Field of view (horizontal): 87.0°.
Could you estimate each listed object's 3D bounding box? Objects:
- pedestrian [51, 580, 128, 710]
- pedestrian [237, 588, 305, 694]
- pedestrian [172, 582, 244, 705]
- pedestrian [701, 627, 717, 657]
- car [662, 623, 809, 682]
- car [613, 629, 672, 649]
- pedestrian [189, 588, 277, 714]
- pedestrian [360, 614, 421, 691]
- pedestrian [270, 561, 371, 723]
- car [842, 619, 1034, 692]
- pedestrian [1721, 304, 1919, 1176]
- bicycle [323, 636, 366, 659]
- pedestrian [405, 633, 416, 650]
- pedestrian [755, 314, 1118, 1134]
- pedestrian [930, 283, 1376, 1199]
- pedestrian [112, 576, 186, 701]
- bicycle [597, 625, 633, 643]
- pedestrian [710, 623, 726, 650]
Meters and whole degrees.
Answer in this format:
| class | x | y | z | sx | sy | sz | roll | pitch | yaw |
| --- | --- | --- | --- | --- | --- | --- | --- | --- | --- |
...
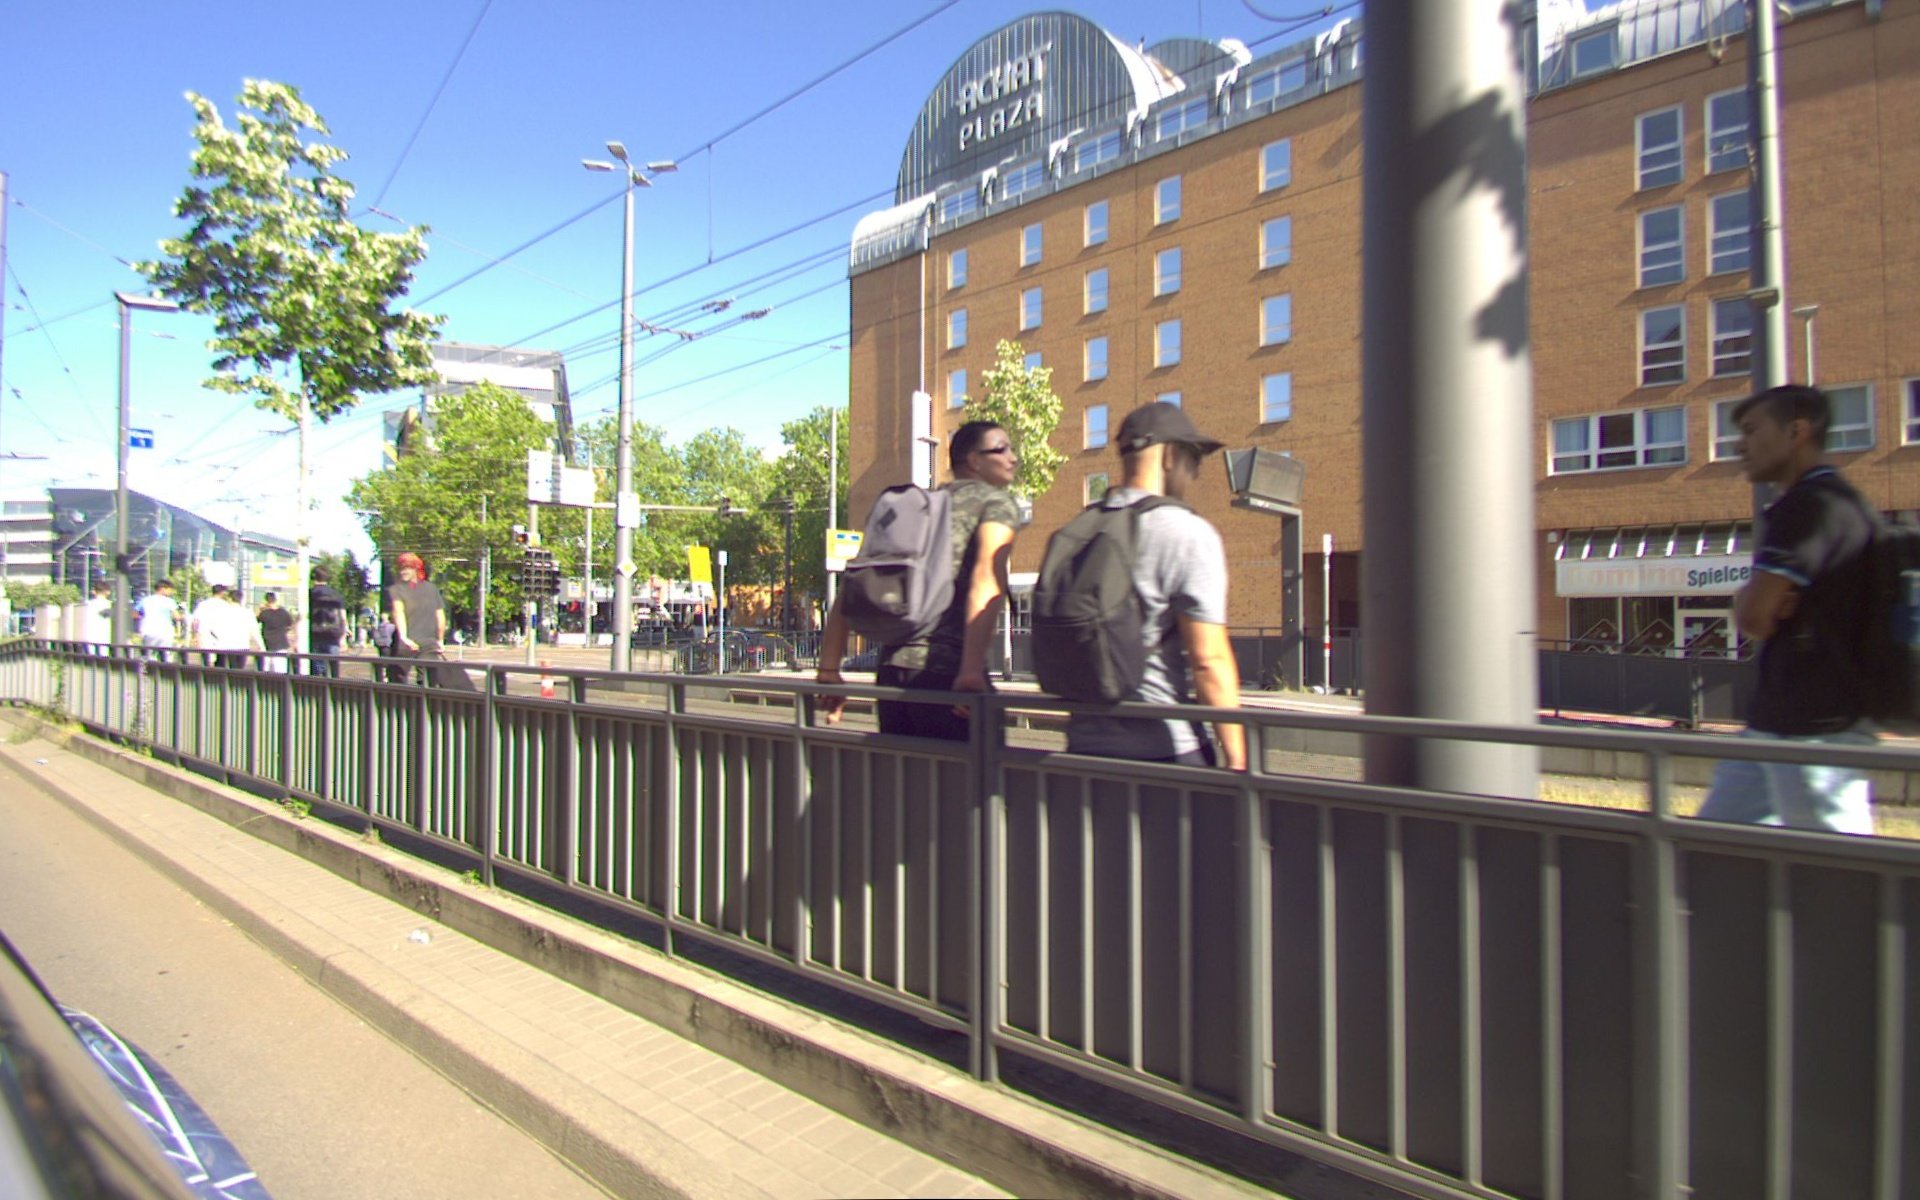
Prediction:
| class | x | y | z | sx | sy | sz | roll | pitch | yaw |
| --- | --- | --- | --- | --- | --- | --- | --- | --- | --- |
| pedestrian | -12.216 | 0.621 | 14.206 | 0.819 | 1.757 | 0.641 | -1 | -2 | 38 |
| pedestrian | -10.700 | 0.631 | 15.711 | 0.907 | 1.581 | 0.602 | -1 | -2 | 38 |
| pedestrian | -11.339 | 0.648 | 15.255 | 0.819 | 1.787 | 0.641 | -1 | -2 | 38 |
| pedestrian | -14.941 | 2.498 | 60.268 | 0.636 | 1.719 | 0.729 | 2 | -3 | -44 |
| car | -6.309 | 1.407 | 28.212 | 4.289 | 1.510 | 1.911 | -1 | -3 | 43 |
| car | -25.721 | 3.162 | 82.110 | 1.910 | 1.519 | 4.112 | -2 | -3 | 44 |
| pedestrian | -9.812 | 0.673 | 13.667 | 0.775 | 1.631 | 0.746 | -1 | -2 | 38 |
| pedestrian | -13.081 | 1.193 | 23.247 | 1.007 | 1.702 | 0.947 | -2 | -3 | 44 |
| pedestrian | -7.561 | 0.488 | 11.968 | 0.839 | 1.825 | 0.746 | -1 | -2 | 38 |
| car | -0.575 | 1.207 | 23.122 | 4.289 | 1.509 | 1.911 | -2 | -2 | 43 |
| pedestrian | 2.197 | 0.280 | 2.241 | 0.752 | 1.736 | 0.701 | -1 | -3 | 41 |
| bicycle | -30.547 | 2.359 | 50.235 | 1.810 | 1.108 | 0.640 | 1 | -2 | -32 |
| pedestrian | -45.092 | 3.426 | 83.060 | 0.653 | 1.408 | 0.673 | 2 | -2 | -36 |
| pedestrian | -0.053 | 0.291 | 2.869 | 0.715 | 1.899 | 0.738 | -1 | -3 | 41 |
| pedestrian | 0.446 | 0.328 | 2.301 | 0.715 | 1.762 | 0.738 | -1 | -3 | 41 |
| pedestrian | -11.845 | 0.556 | 14.779 | 0.819 | 1.757 | 0.641 | -1 | -2 | 38 |
| bicycle | -30.309 | 3.023 | 88.949 | 2.805 | 1.548 | 0.905 | 2 | -3 | -43 |
| pedestrian | -14.714 | 2.223 | 61.600 | 0.636 | 1.622 | 0.729 | 2 | -3 | -44 |
